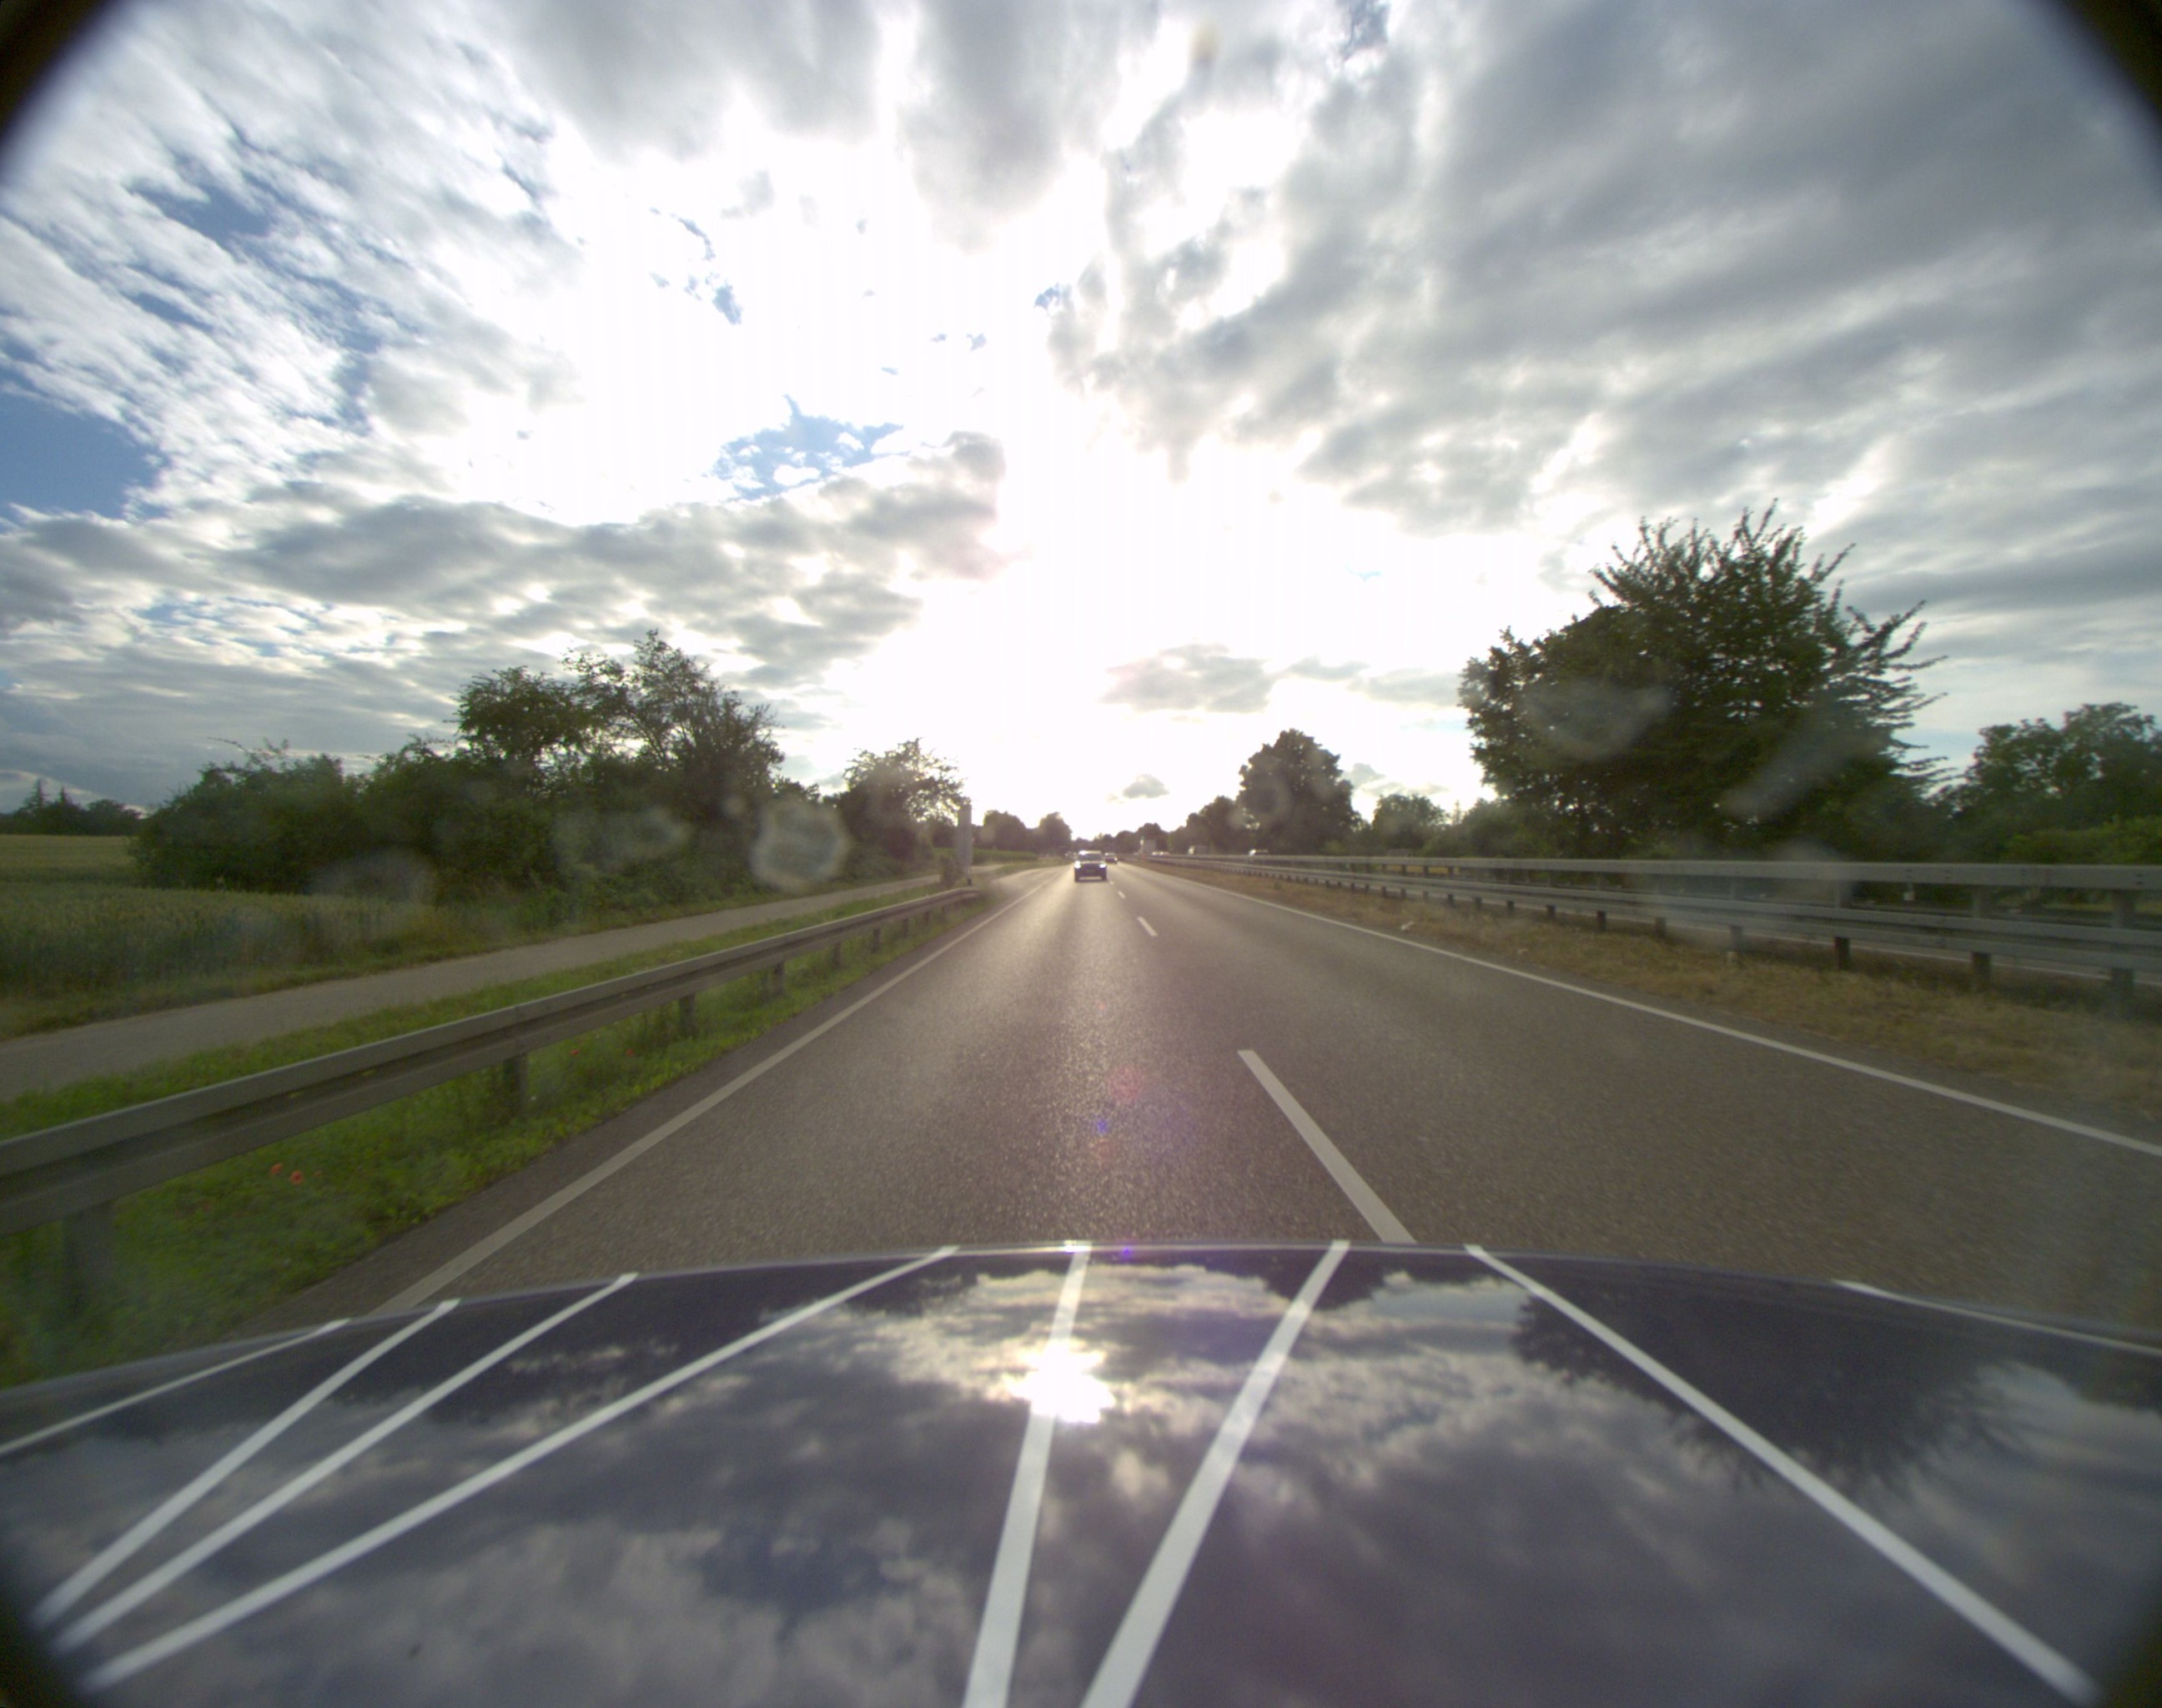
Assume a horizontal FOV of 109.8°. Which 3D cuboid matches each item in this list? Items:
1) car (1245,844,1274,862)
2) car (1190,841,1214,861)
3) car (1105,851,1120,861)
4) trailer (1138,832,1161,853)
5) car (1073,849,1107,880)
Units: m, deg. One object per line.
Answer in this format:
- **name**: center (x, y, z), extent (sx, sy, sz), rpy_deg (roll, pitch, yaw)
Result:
- **car**: center (16.537, -0.083, 70.564), extent (1.802, 1.616, 4.483), rpy_deg (0, 0, 2)
- **car**: center (13.582, -0.355, 85.709), extent (1.998, 2.128, 5.319), rpy_deg (0, 0, 2)
- **car**: center (4.126, 0.213, 100.153), extent (1.998, 1.320, 4.000), rpy_deg (0, 0, 2)
- **trailer**: center (13.932, -2.299, 155.231), extent (3.473, 4.126, 13.915), rpy_deg (1, 0, 1)
- **car**: center (0.505, 0.563, 44.316), extent (1.849, 1.640, 4.480), rpy_deg (-3, 0, 0)
